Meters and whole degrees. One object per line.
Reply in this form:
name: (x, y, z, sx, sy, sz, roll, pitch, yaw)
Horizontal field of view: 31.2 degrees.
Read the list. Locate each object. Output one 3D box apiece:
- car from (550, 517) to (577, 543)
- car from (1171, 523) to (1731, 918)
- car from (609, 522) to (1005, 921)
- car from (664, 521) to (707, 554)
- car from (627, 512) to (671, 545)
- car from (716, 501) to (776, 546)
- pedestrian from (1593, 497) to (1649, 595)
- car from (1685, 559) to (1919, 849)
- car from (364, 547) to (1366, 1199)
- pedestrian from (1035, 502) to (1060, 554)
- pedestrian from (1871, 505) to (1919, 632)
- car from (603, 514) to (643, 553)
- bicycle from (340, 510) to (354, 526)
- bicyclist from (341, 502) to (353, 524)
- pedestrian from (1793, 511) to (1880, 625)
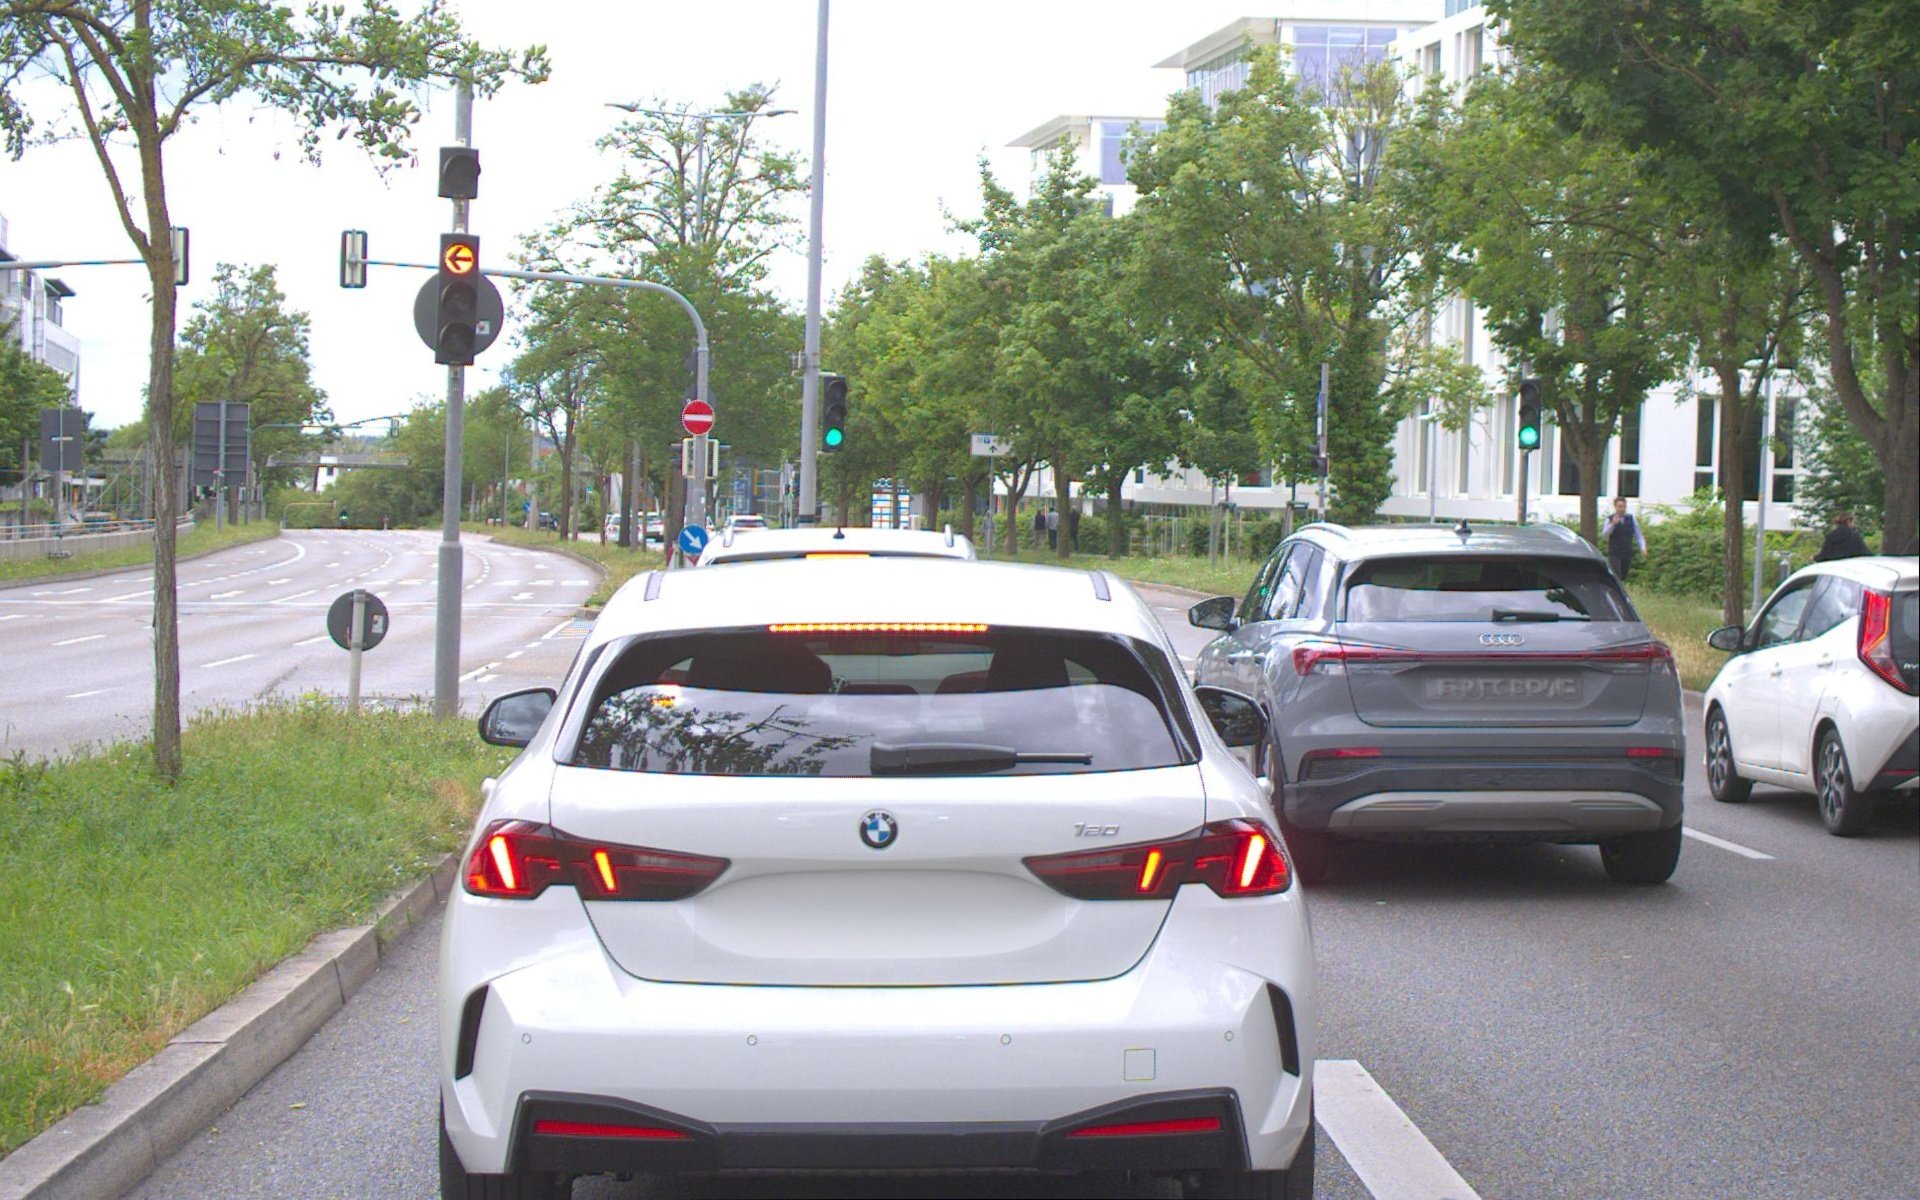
car: (-26.807, -4.743, 232.645, 1.601, 1.661, 4.001, 1, 1, -4)
car: (2.158, 0.455, 16.328, 1.891, 1.590, 4.314, 1, 1, -2)
car: (-0.635, 0.449, 15.737, 1.549, 1.563, 4.000, 1, 1, -1)
car: (-12.782, -2.914, 159.969, 1.692, 1.481, 3.694, 1, 1, -9)
car: (-16.693, -3.833, 184.265, 1.993, 1.726, 4.001, 1, 1, -10)
car: (-8.220, -2.911, 131.577, 1.993, 1.664, 4.001, -1, 1, -8)
pedestrian: (10.642, -0.869, 55.350, 0.741, 1.568, 0.674, 1, 0, -1)
car: (5.220, 0.501, 18.950, 1.653, 1.420, 3.535, 0, 1, -1)
car: (-0.200, 0.617, 8.338, 1.822, 1.433, 4.000, 1, 1, -1)
pedestrian: (3.424, -2.821, 134.127, 0.762, 2.007, 0.754, 1, 0, -15)
pedestrian: (12.073, -0.396, 43.710, 0.699, 1.590, 0.883, 1, 0, -1)
car: (-15.363, -3.024, 156.648, 1.695, 1.711, 4.001, 1, 1, -7)
bicycle: (-45.436, -6.086, 254.851, 0.810, 1.100, 2.557, 1, 1, -6)
bicyclist: (-45.442, -6.440, 254.913, 0.810, 1.647, 1.189, 1, 0, -6)
pedestrian: (11.231, -0.411, 44.080, 0.789, 1.443, 1.112, 1, 0, -1)
